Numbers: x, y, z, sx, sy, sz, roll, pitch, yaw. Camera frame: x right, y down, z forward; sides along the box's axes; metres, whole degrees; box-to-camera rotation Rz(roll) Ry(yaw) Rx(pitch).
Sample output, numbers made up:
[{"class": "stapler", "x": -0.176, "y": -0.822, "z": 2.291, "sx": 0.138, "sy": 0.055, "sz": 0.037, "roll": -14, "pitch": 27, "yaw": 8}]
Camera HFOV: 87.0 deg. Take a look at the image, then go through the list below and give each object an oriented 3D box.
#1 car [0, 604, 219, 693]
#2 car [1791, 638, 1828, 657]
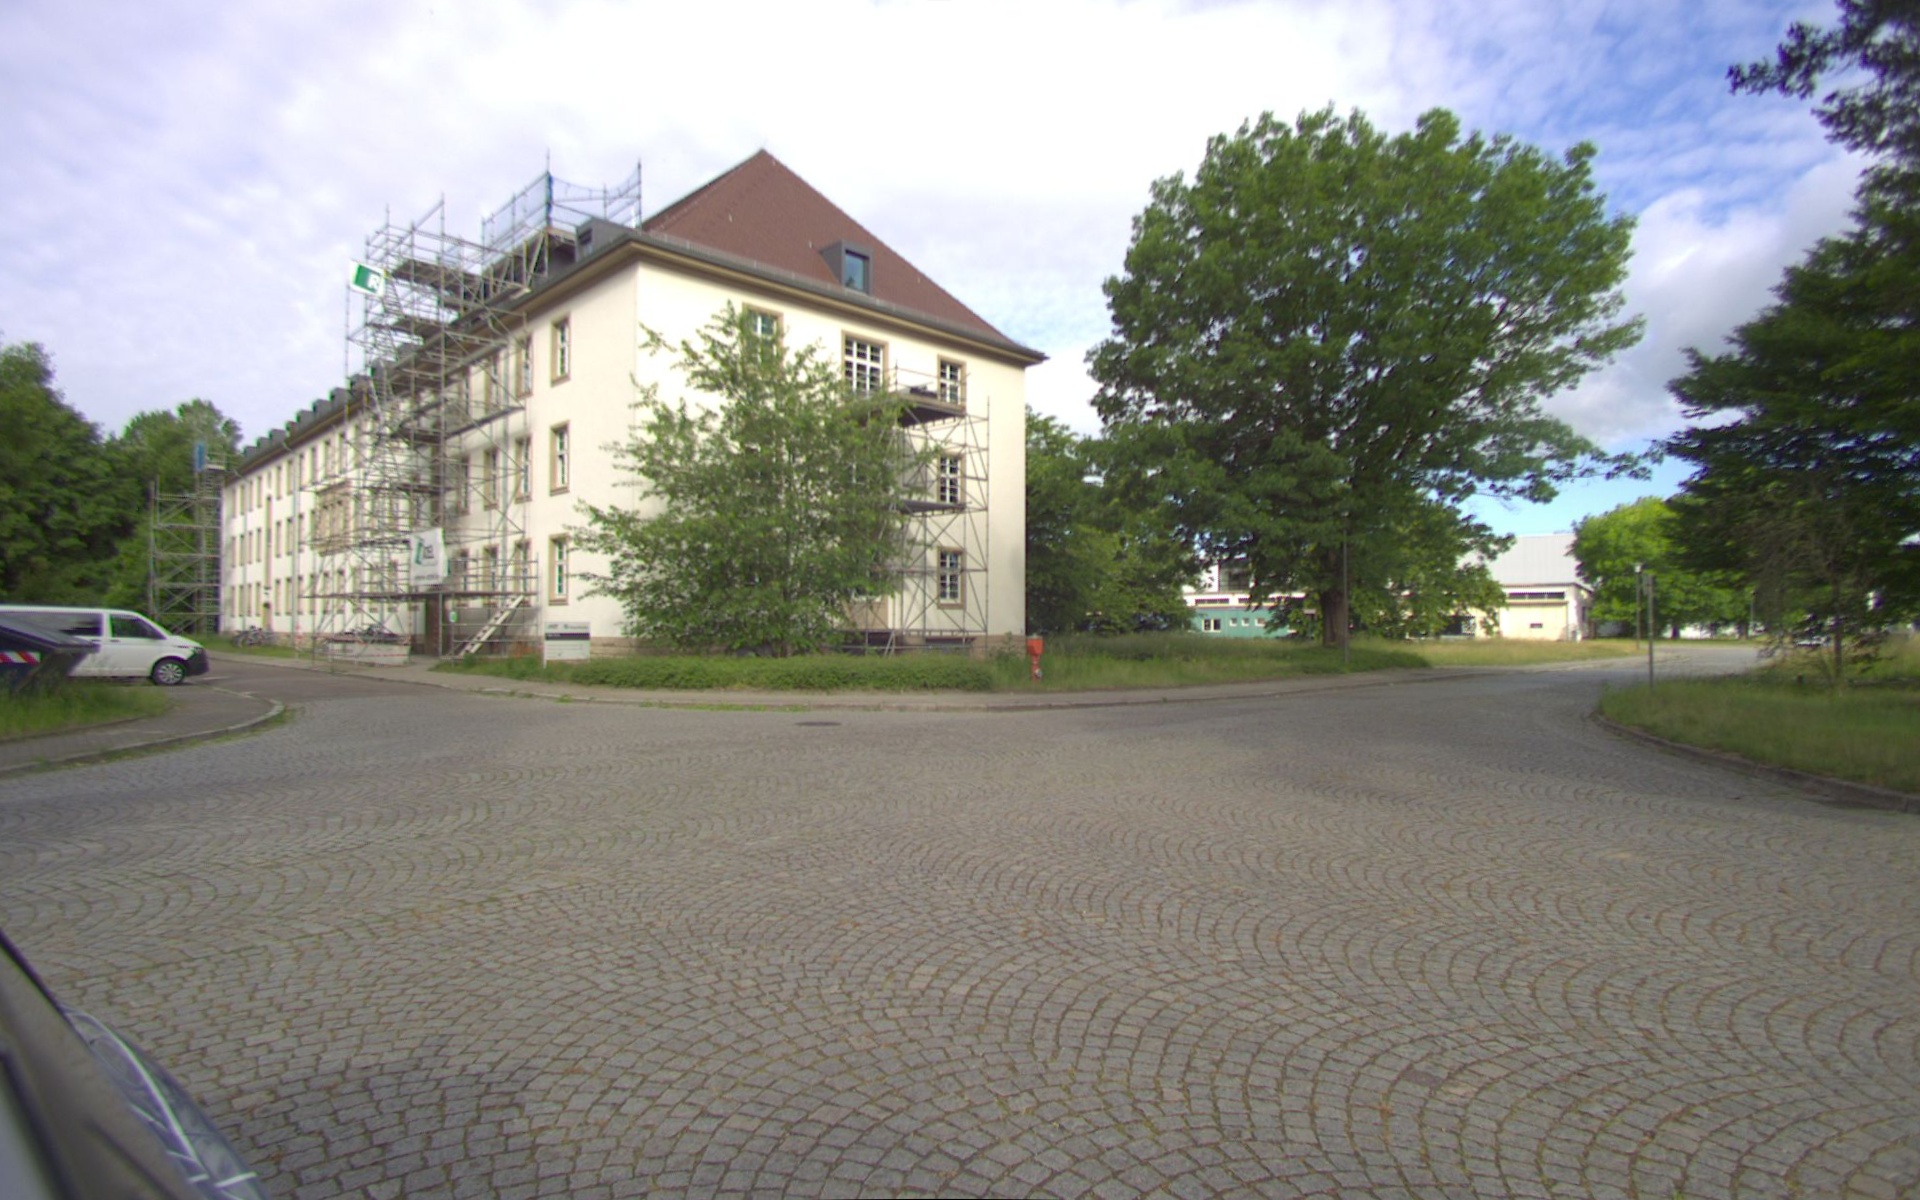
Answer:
[{"class": "car", "x": -22.162, "y": 1.235, "z": 25.618, "sx": 2.189, "sy": 2.076, "sz": 5.141, "roll": -3, "pitch": -5, "yaw": 44}, {"class": "car", "x": 67.767, "y": 3.803, "z": 80.664, "sx": 1.855, "sy": 1.448, "sz": 4.637, "roll": -3, "pitch": -3, "yaw": 44}]
